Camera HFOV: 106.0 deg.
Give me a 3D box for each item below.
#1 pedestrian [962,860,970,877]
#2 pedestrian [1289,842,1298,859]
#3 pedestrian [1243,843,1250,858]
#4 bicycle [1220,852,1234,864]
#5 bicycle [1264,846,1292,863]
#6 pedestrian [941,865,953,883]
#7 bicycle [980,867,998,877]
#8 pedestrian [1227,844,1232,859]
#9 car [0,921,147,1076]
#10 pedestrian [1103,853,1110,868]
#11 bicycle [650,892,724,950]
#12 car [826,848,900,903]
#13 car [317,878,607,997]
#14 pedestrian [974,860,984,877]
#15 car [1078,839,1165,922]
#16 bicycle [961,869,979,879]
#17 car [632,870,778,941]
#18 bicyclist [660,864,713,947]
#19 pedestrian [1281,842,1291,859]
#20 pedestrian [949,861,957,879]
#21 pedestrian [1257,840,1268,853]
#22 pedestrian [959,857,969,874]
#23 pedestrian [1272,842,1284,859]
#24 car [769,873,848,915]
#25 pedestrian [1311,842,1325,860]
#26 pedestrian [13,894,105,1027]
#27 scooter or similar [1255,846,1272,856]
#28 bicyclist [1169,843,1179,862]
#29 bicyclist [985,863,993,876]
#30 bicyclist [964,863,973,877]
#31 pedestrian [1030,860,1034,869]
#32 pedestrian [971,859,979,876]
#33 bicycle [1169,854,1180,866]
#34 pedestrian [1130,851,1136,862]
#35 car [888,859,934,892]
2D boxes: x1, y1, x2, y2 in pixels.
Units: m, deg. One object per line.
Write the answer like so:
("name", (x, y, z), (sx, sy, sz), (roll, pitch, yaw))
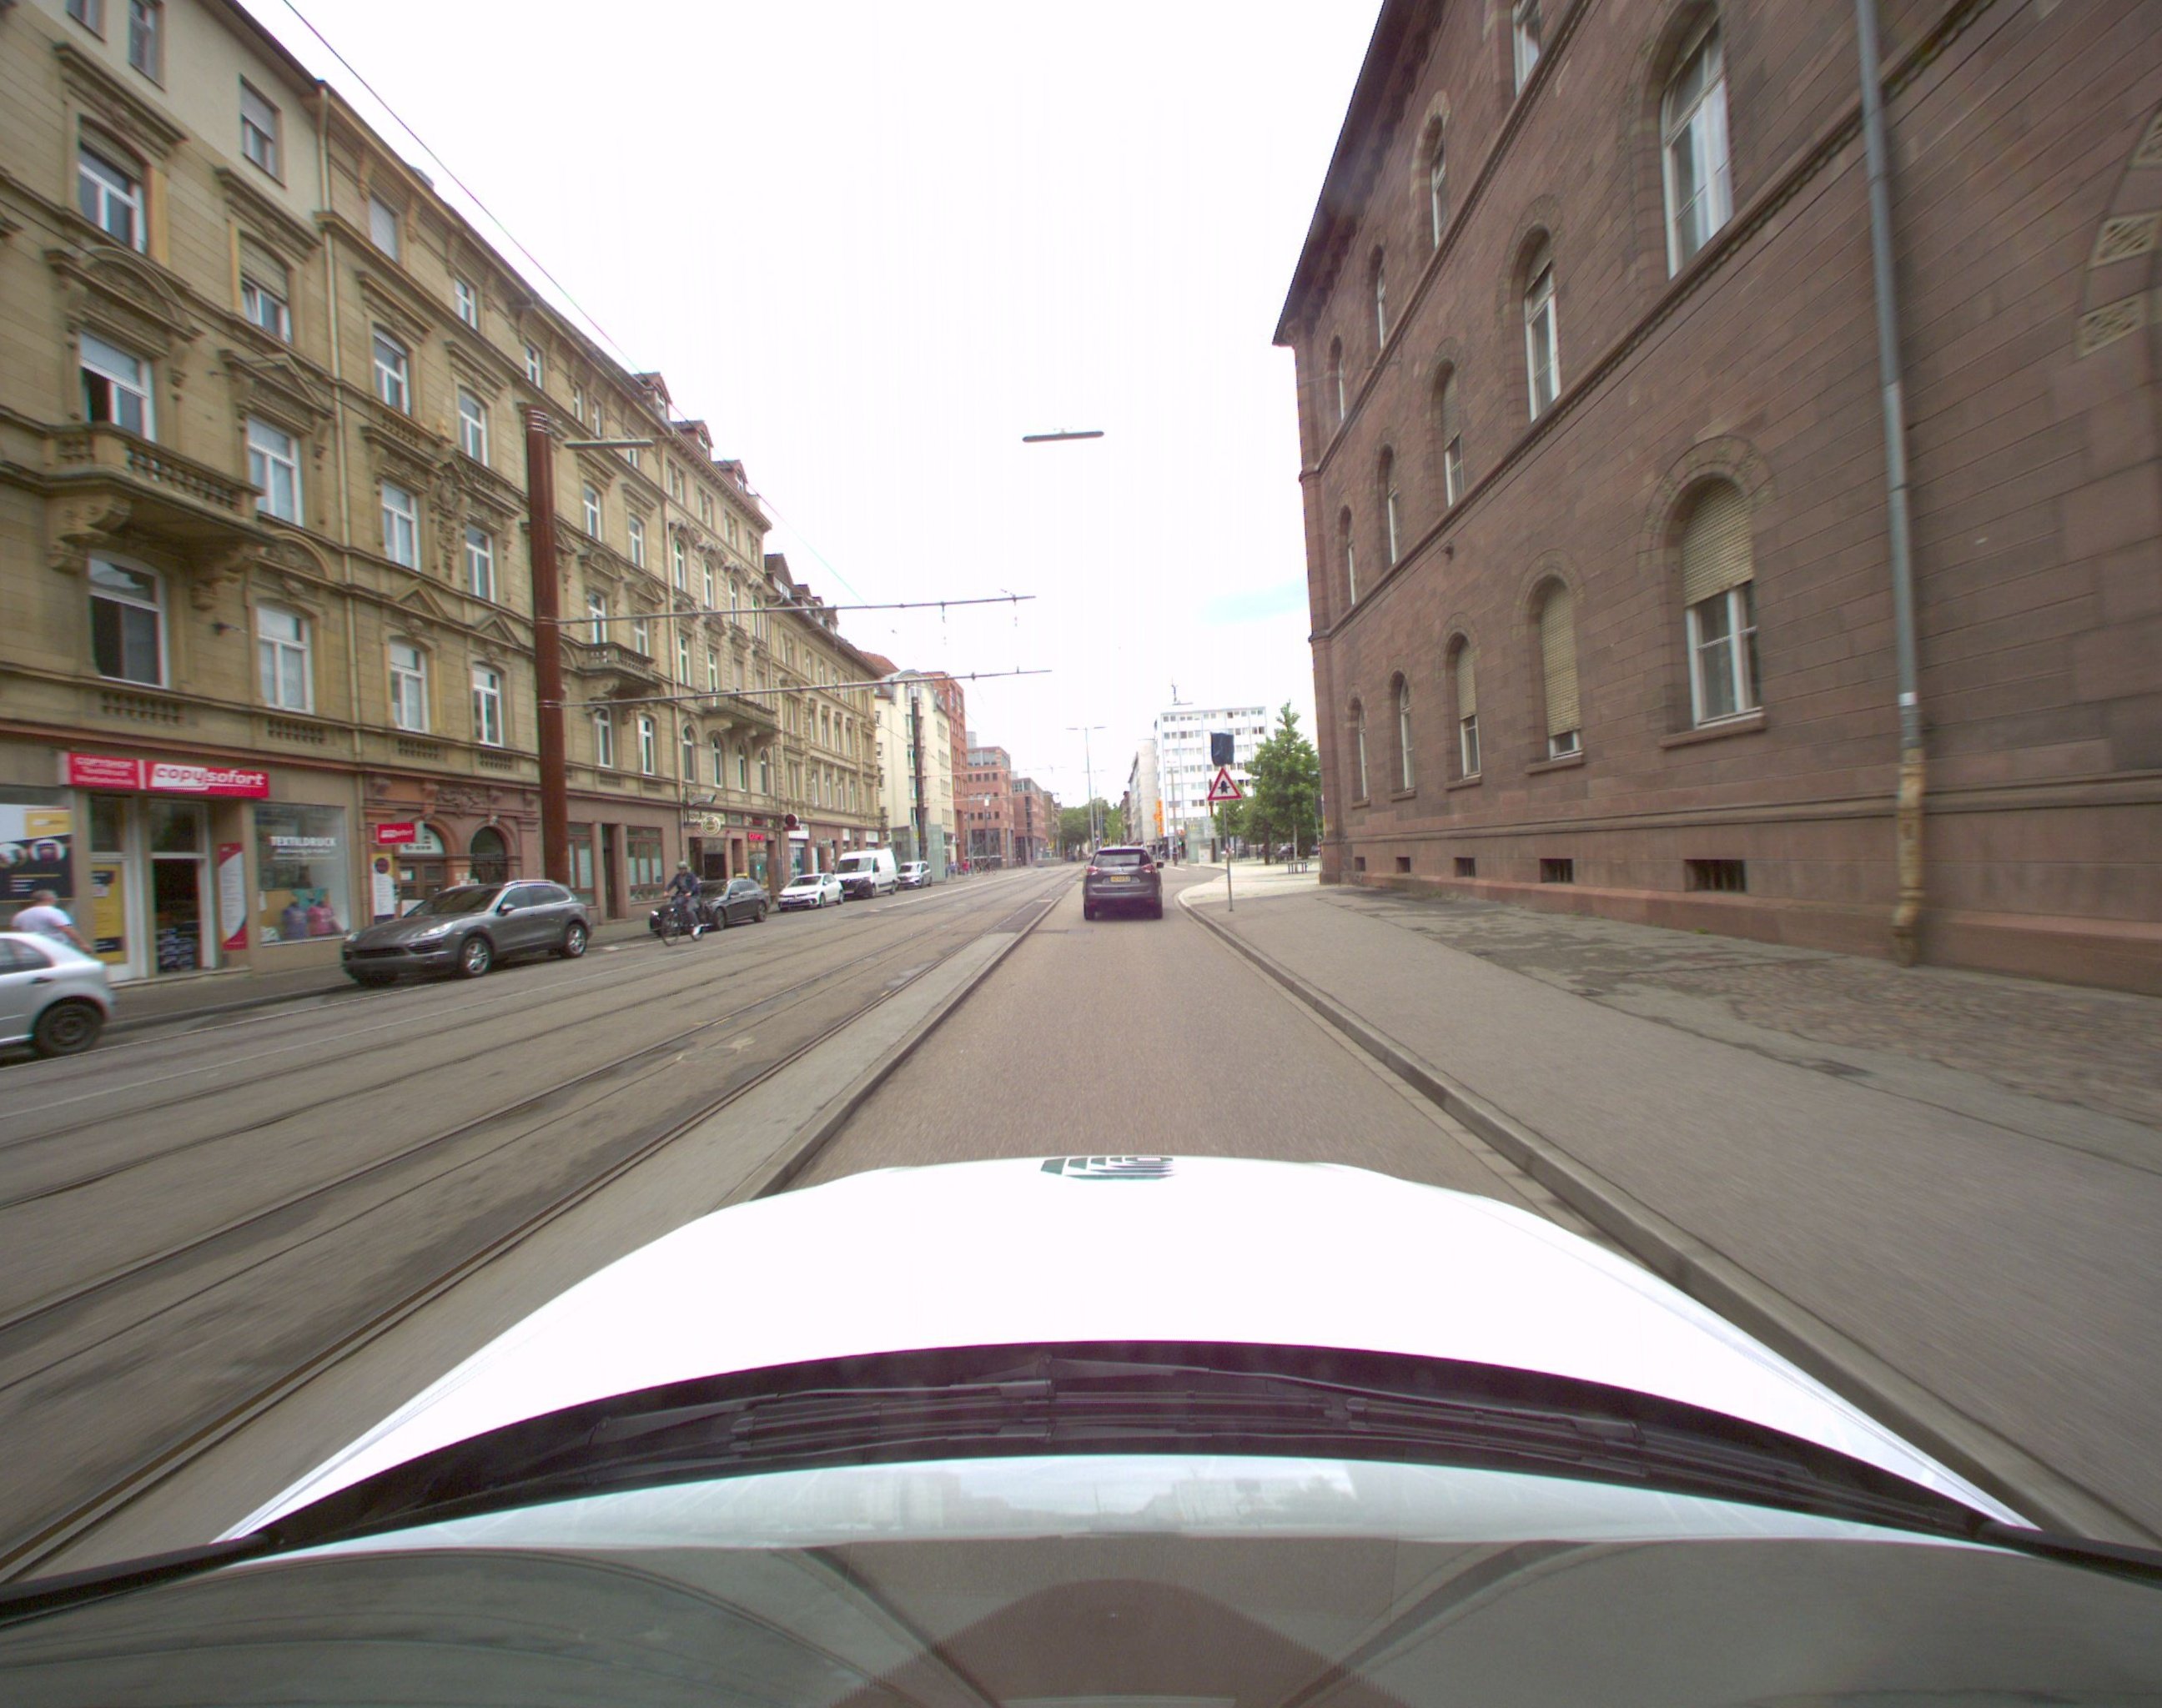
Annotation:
("pedestrian", (-11.839, 1.485, 83.879), (0.720, 1.687, 0.660), (-3, -2, -9))
("pedestrian", (17.358, -0.312, 66.482), (0.538, 1.366, 1.286), (-3, -1, 19))
("pedestrian", (19.798, -0.444, 97.618), (0.666, 1.761, 0.644), (-3, -1, 17))
("bicycle", (13.735, 0.371, 76.701), (0.651, 0.978, 1.765), (-4, -1, 30))
("bicycle", (14.128, 0.041, 58.405), (1.901, 1.123, 0.647), (-3, -1, 12))
("pedestrian", (-13.034, 1.919, 79.298), (0.714, 1.687, 0.829), (-4, -2, 20))
("bicycle", (-10.259, 2.005, 90.450), (1.903, 1.021, 0.479), (-4, -1, -6))
("pedestrian", (15.841, -0.238, 86.773), (0.431, 1.555, 0.499), (-2, -1, 1))
("car", (-12.042, 1.609, 7.706), (1.738, 1.488, 3.921), (-5, 0, 1))
("pedestrian", (3.031, 0.783, 95.664), (0.742, 1.684, 0.798), (-2, -2, -3))
("bicycle", (-9.352, 1.564, 19.446), (0.582, 1.174, 2.046), (-5, -1, 3))
("car", (-11.197, 1.059, 42.326), (2.046, 2.486, 5.666), (-6, 0, 0))
("car", (-11.687, 1.451, 15.972), (1.808, 1.689, 5.029), (-5, 0, -1))
("pedestrian", (-11.759, 1.678, 93.905), (0.894, 1.890, 0.799), (-2, -2, -1))
("car", (0.984, 0.548, 20.205), (1.856, 1.774, 4.569), (-2, 1, 2))
("bicycle", (-12.572, 2.241, 92.025), (1.898, 1.021, 0.478), (-4, -1, 3))
("car", (-11.195, 1.449, 24.745), (1.913, 1.689, 5.051), (-6, 0, 0))
("bicyclist", (-9.362, 1.191, 19.352), (0.642, 1.883, 1.029), (-2, -1, 3))
("pedestrian", (16.664, -0.309, 66.277), (0.623, 1.366, 0.923), (-3, -1, 19))
("pedestrian", (-12.243, 1.520, 78.016), (0.659, 1.687, 0.721), (-4, -2, -8))
("pedestrian", (19.425, -0.762, 87.092), (1.039, 1.297, 0.734), (-5, -1, 6))
("pedestrian", (-12.562, 1.246, 87.606), (0.870, 1.687, 0.659), (-3, -2, -13))
("pedestrian", (15.963, -0.264, 66.146), (0.629, 1.366, 0.683), (-2, -1, -17))
("car", (-11.399, 1.618, 34.348), (1.765, 1.422, 4.164), (-6, 0, 0))
("pedestrian", (18.331, -0.230, 63.089), (0.626, 1.366, 1.409), (-2, -1, 1))
("pedestrian", (-14.748, 1.497, 11.761), (0.646, 1.782, 0.790), (-3, -1, 38))
("scooter or similar", (19.594, -0.297, 87.292), (1.571, 0.948, 0.729), (-6, -1, 39))
("bicyclist", (8.666, -0.137, 75.897), (0.830, 1.812, 0.878), (-2, -1, 4))
("bicyclist", (-10.206, 1.699, 90.456), (0.808, 1.407, 0.479), (-4, -1, -5))
("bicyclist", (-12.695, 1.838, 91.989), (0.806, 1.540, 0.493), (-4, -1, 3))
("pedestrian", (-10.084, 2.175, 167.404), (0.696, 1.842, 0.736), (-3, -1, 10))
("pedestrian", (-10.928, 1.402, 84.187), (0.660, 1.687, 0.720), (-3, -2, -11))
("bicycle", (8.709, 0.525, 76.063), (0.898, 1.045, 3.281), (-3, -1, 4))
("pedestrian", (8.696, 0.412, 136.361), (0.731, 1.746, 0.661), (-2, -1, -7))
("car", (-10.929, 1.344, 52.654), (1.897, 1.864, 4.520), (-5, 0, 0))
